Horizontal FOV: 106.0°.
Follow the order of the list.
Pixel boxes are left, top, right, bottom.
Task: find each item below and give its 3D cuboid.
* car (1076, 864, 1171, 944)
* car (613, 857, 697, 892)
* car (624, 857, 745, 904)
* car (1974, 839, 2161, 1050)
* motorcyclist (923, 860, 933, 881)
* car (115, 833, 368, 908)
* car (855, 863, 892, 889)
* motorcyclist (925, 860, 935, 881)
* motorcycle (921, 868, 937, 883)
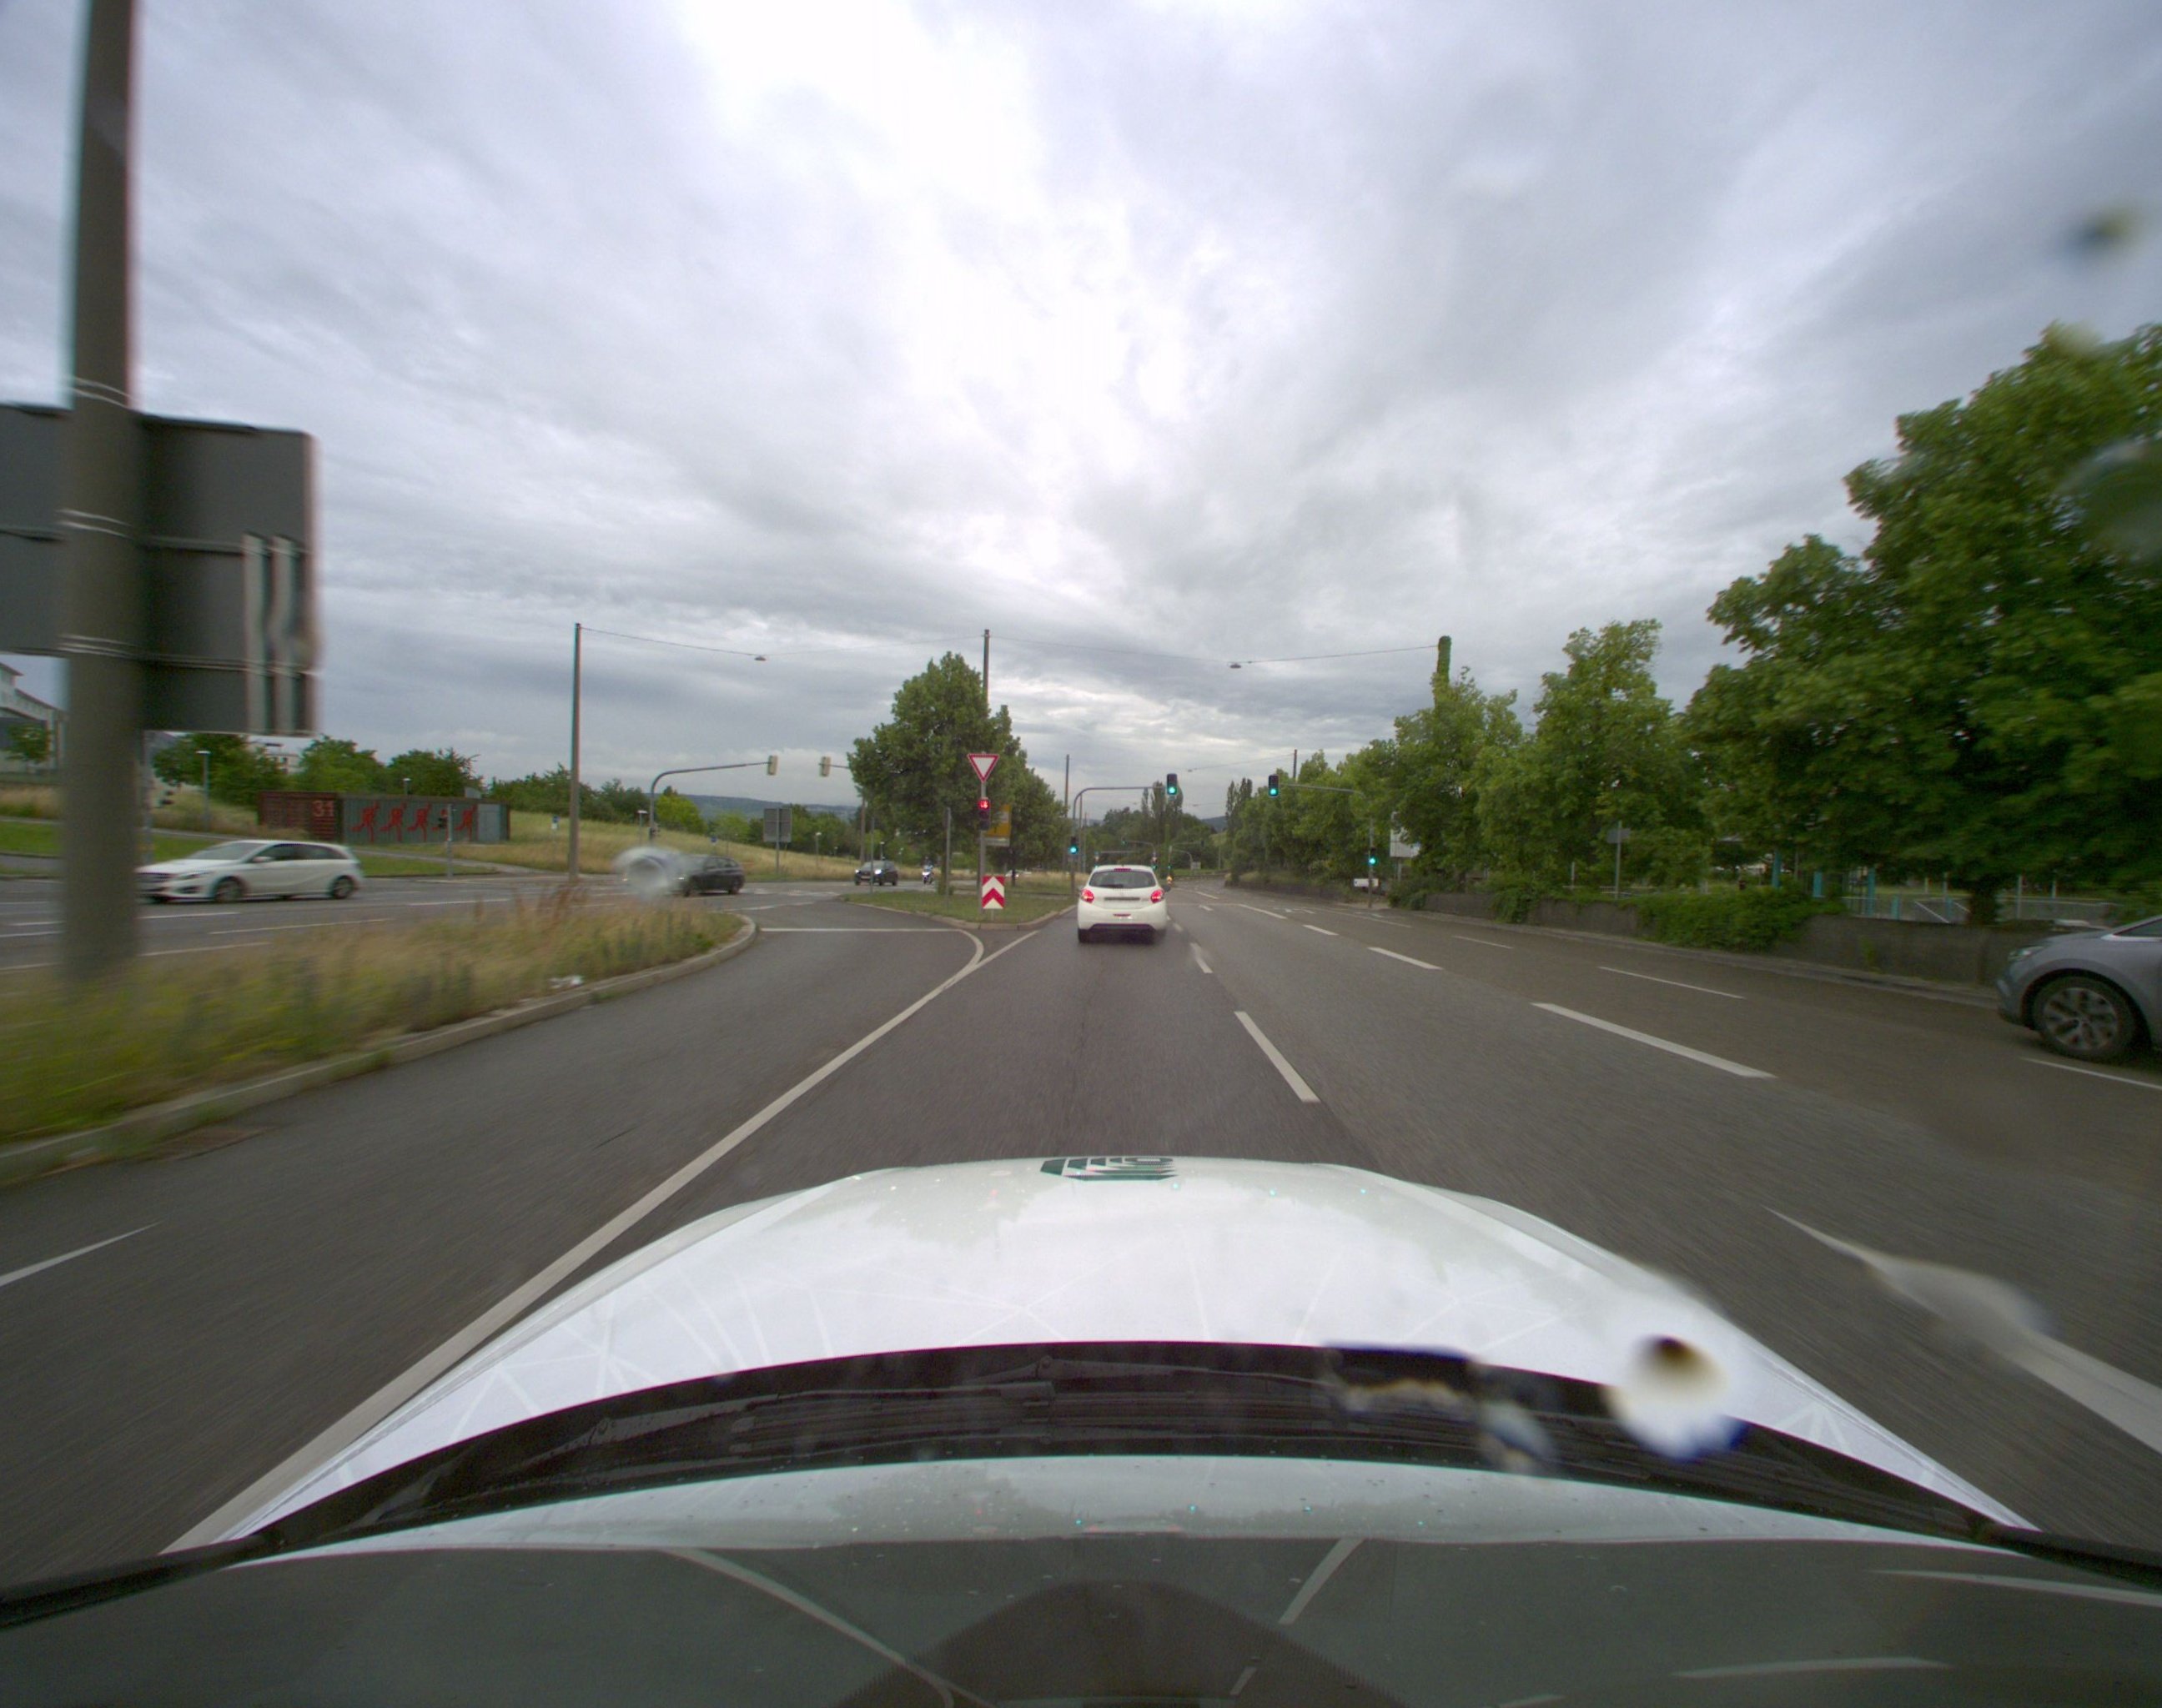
[{"bbox_3d":[0.884,0.943,16.617,1.701,1.440,3.693,-1,-1,3],"label":"car"},{"bbox_3d":[-19.649,0.962,37.715,1.644,1.463,3.777,1,-2,4],"label":"car"},{"bbox_3d":[-13.761,0.898,28.609,1.743,1.504,4.468,1,-1,4],"label":"car"},{"bbox_3d":[9.361,0.787,5.449,1.719,1.648,4.628,3,1,2],"label":"car"},{"bbox_3d":[-11.476,1.241,60.992,0.579,1.596,0.644,1,0,3],"label":"motorcyclist"},{"bbox_3d":[-20.757,0.434,20.446,1.759,1.648,4.181,1,-2,4],"label":"car"},{"bbox_3d":[-12.581,1.330,49.471,1.535,1.504,3.655,2,-2,-5],"label":"car"},{"bbox_3d":[-11.450,1.264,61.646,0.609,1.581,0.582,1,0,3],"label":"motorcyclist"},{"bbox_3d":[-11.453,1.602,61.506,0.614,1.050,2.504,1,0,3],"label":"motorcycle"}]
